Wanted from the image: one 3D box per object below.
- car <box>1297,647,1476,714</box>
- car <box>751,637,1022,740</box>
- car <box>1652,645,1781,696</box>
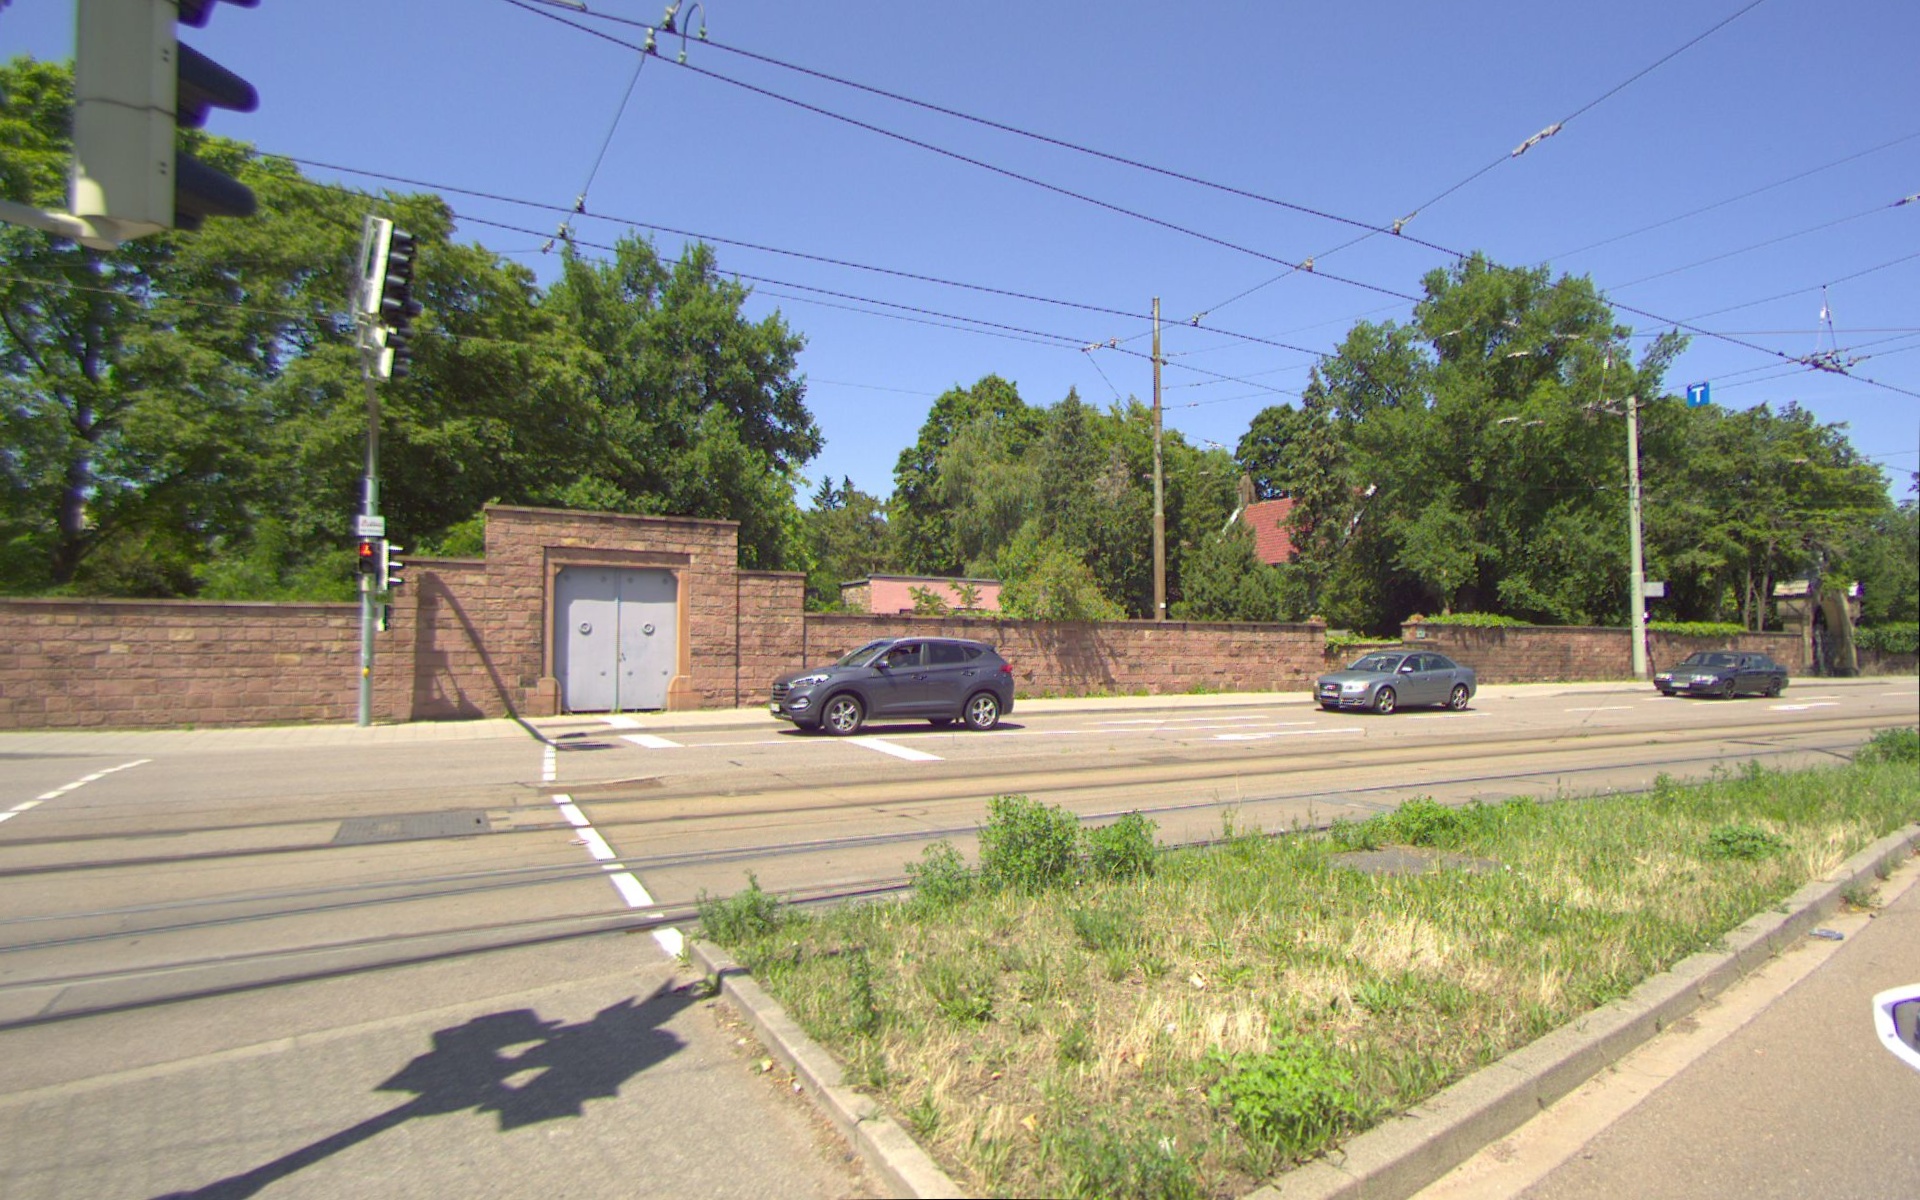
[{"bbox_3d":[10.191,1.860,23.948,4.112,1.439,1.636,1,-1,-26],"label":"car"},{"bbox_3d":[-1.254,1.482,17.747,4.464,1.624,1.813,1,-3,-29],"label":"car"},{"bbox_3d":[23.069,2.101,30.609,4.065,1.418,1.634,1,-1,-29],"label":"car"}]
